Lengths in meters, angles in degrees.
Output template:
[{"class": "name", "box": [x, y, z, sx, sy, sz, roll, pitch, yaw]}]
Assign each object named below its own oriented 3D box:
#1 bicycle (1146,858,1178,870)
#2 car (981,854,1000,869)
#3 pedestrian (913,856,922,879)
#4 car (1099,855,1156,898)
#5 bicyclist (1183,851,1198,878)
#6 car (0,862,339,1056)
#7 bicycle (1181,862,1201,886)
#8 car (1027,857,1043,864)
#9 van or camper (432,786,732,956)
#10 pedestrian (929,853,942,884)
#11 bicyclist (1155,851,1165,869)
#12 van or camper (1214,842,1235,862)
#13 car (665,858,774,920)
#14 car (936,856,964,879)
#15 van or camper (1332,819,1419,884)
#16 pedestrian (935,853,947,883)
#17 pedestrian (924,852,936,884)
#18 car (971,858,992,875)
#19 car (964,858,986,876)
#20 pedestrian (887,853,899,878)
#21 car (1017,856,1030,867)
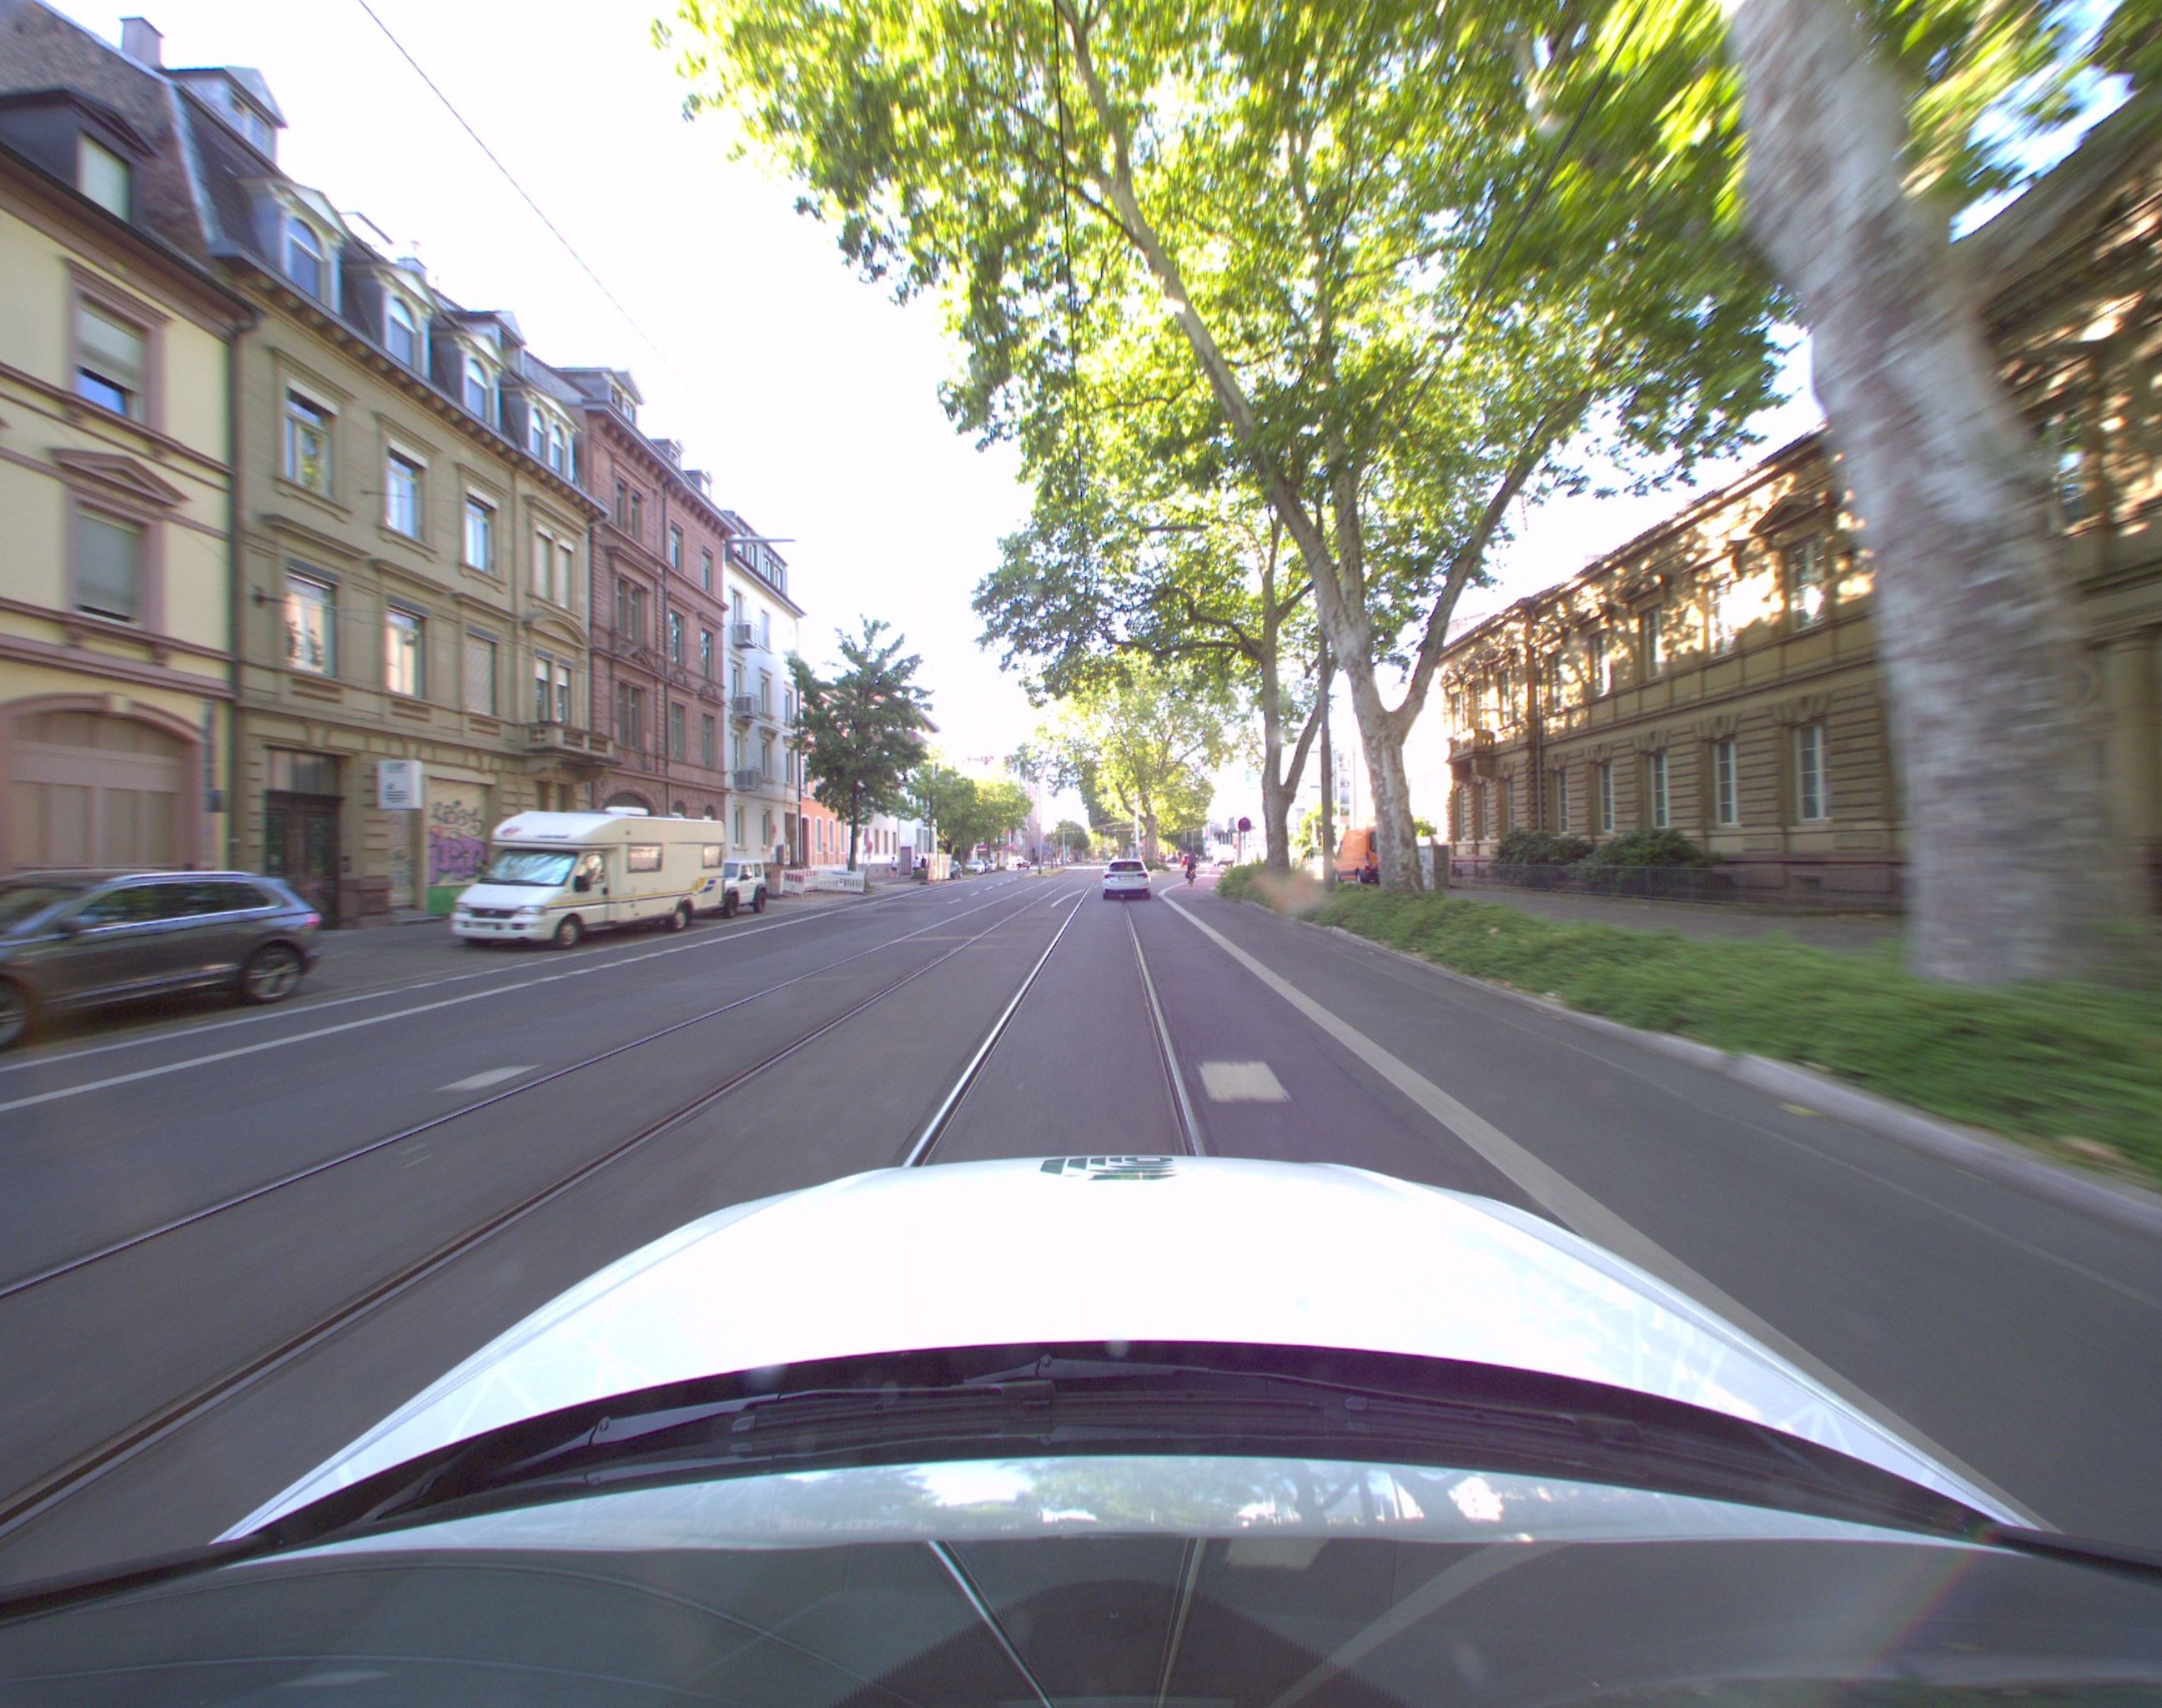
[{"class": "bicycle", "box": [7.150, 0.861, 71.709, 2.749, 0.999, 0.595, 0, -1, 15]}, {"class": "car", "box": [-10.470, 0.873, 94.803, 1.788, 1.726, 3.783, 0, 0, 0]}, {"class": "pedestrian", "box": [-12.772, 1.037, 63.488, 0.599, 1.773, 0.700, 0, -1, -5]}, {"class": "car", "box": [1.662, 0.800, 30.146, 1.837, 1.480, 3.836, 0, 0, -1]}, {"class": "bicyclist", "box": [5.433, 0.527, 40.403, 0.676, 1.339, 0.525, 0, -1, 1]}, {"class": "car", "box": [-11.036, 0.993, 8.782, 1.958, 1.781, 4.469, 0, 0, 0]}, {"class": "bicycle", "box": [5.437, 0.960, 40.362, 0.677, 1.155, 2.965, 0, 0, 1]}, {"class": "car", "box": [-11.435, 1.689, 203.289, 3.773, 1.818, 1.807, 0, 0, 7]}, {"class": "van or camper", "box": [-10.808, 0.322, 18.690, 2.207, 3.140, 7.118, 0, 0, 3]}, {"class": "pedestrian", "box": [-9.478, 0.942, 53.214, 0.643, 2.002, 0.750, 0, 0, 5]}, {"class": "bicyclist", "box": [6.941, 0.521, 71.773, 0.731, 1.589, 0.589, -2, 0, 13]}, {"class": "van or camper", "box": [17.390, -0.235, 98.628, 1.986, 2.343, 4.002, 0, 0, 2]}, {"class": "car", "box": [-10.906, 0.997, 24.867, 1.636, 1.726, 3.783, 0, 0, 0]}, {"class": "car", "box": [-10.463, 1.041, 65.115, 1.636, 1.726, 3.783, 0, 0, 0]}, {"class": "van or camper", "box": [11.965, -0.074, 33.470, 2.019, 2.464, 5.112, 0, 0, 3]}, {"class": "pedestrian", "box": [-9.473, 0.950, 55.207, 0.643, 2.002, 0.750, 0, 0, 5]}, {"class": "pedestrian", "box": [-9.505, 0.855, 51.282, 0.598, 2.002, 0.750, 0, 0, 5]}, {"class": "car", "box": [-10.736, 1.332, 88.050, 1.788, 1.726, 3.783, 0, 0, 0]}, {"class": "car", "box": [-10.680, 1.311, 82.104, 1.788, 1.726, 3.783, 0, 0, 0]}, {"class": "pedestrian", "box": [-15.038, 0.919, 65.166, 0.740, 2.002, 0.652, 0, -1, 39]}, {"class": "car", "box": [-8.021, 1.060, 114.142, 1.630, 1.477, 3.782, 0, 0, -1]}]
